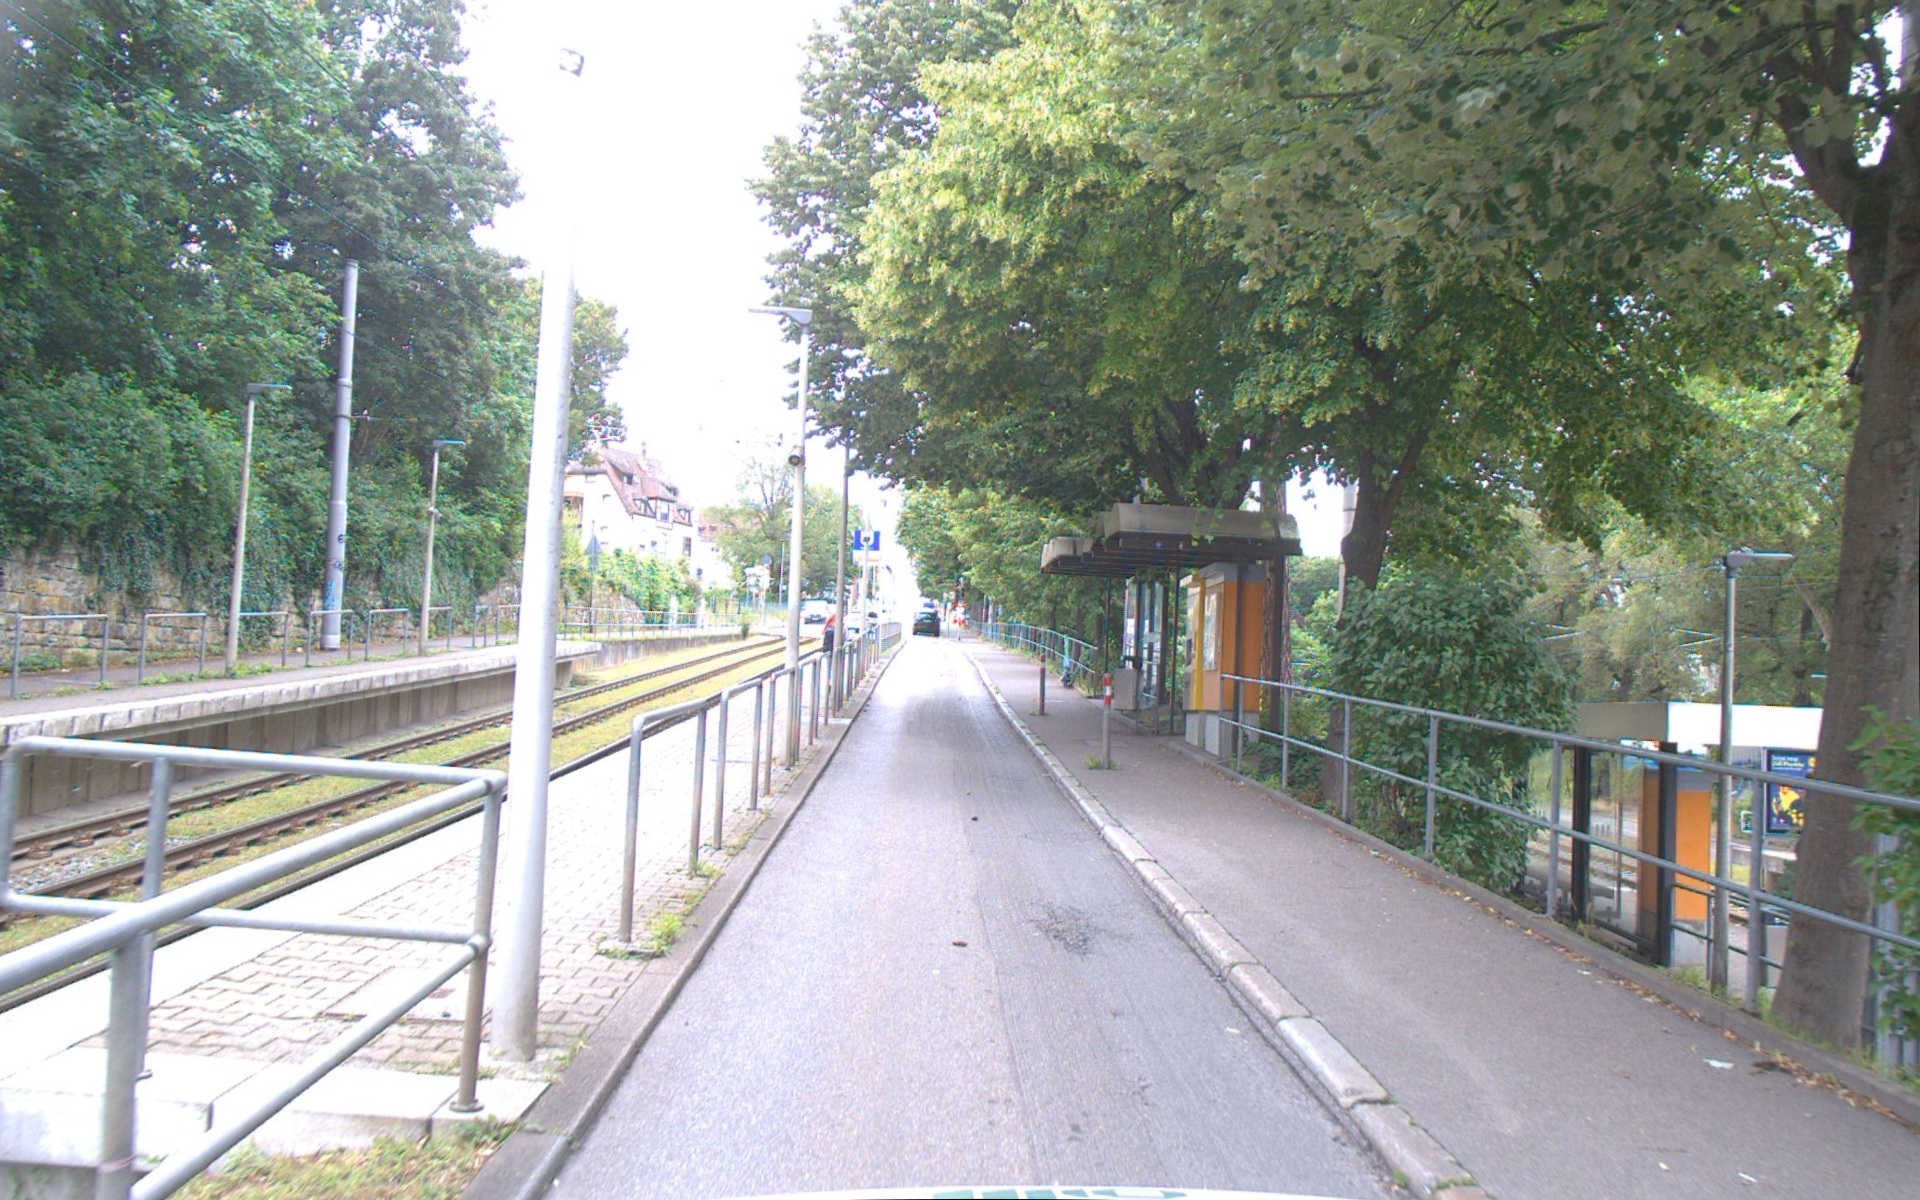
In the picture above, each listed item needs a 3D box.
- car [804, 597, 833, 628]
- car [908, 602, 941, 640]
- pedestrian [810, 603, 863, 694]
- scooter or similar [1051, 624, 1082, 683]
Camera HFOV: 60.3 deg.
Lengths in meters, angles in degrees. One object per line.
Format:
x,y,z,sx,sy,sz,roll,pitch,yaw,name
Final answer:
-11.650,1.046,136.201,1.954,2.183,3.998,6,-3,-2,car
-2.398,1.432,110.710,1.954,2.183,3.998,6,-3,-2,car
-2.089,0.809,28.005,0.727,1.433,0.746,5,1,-2,pedestrian
2.200,1.120,34.251,0.336,1.177,1.144,6,-3,-7,scooter or similar
